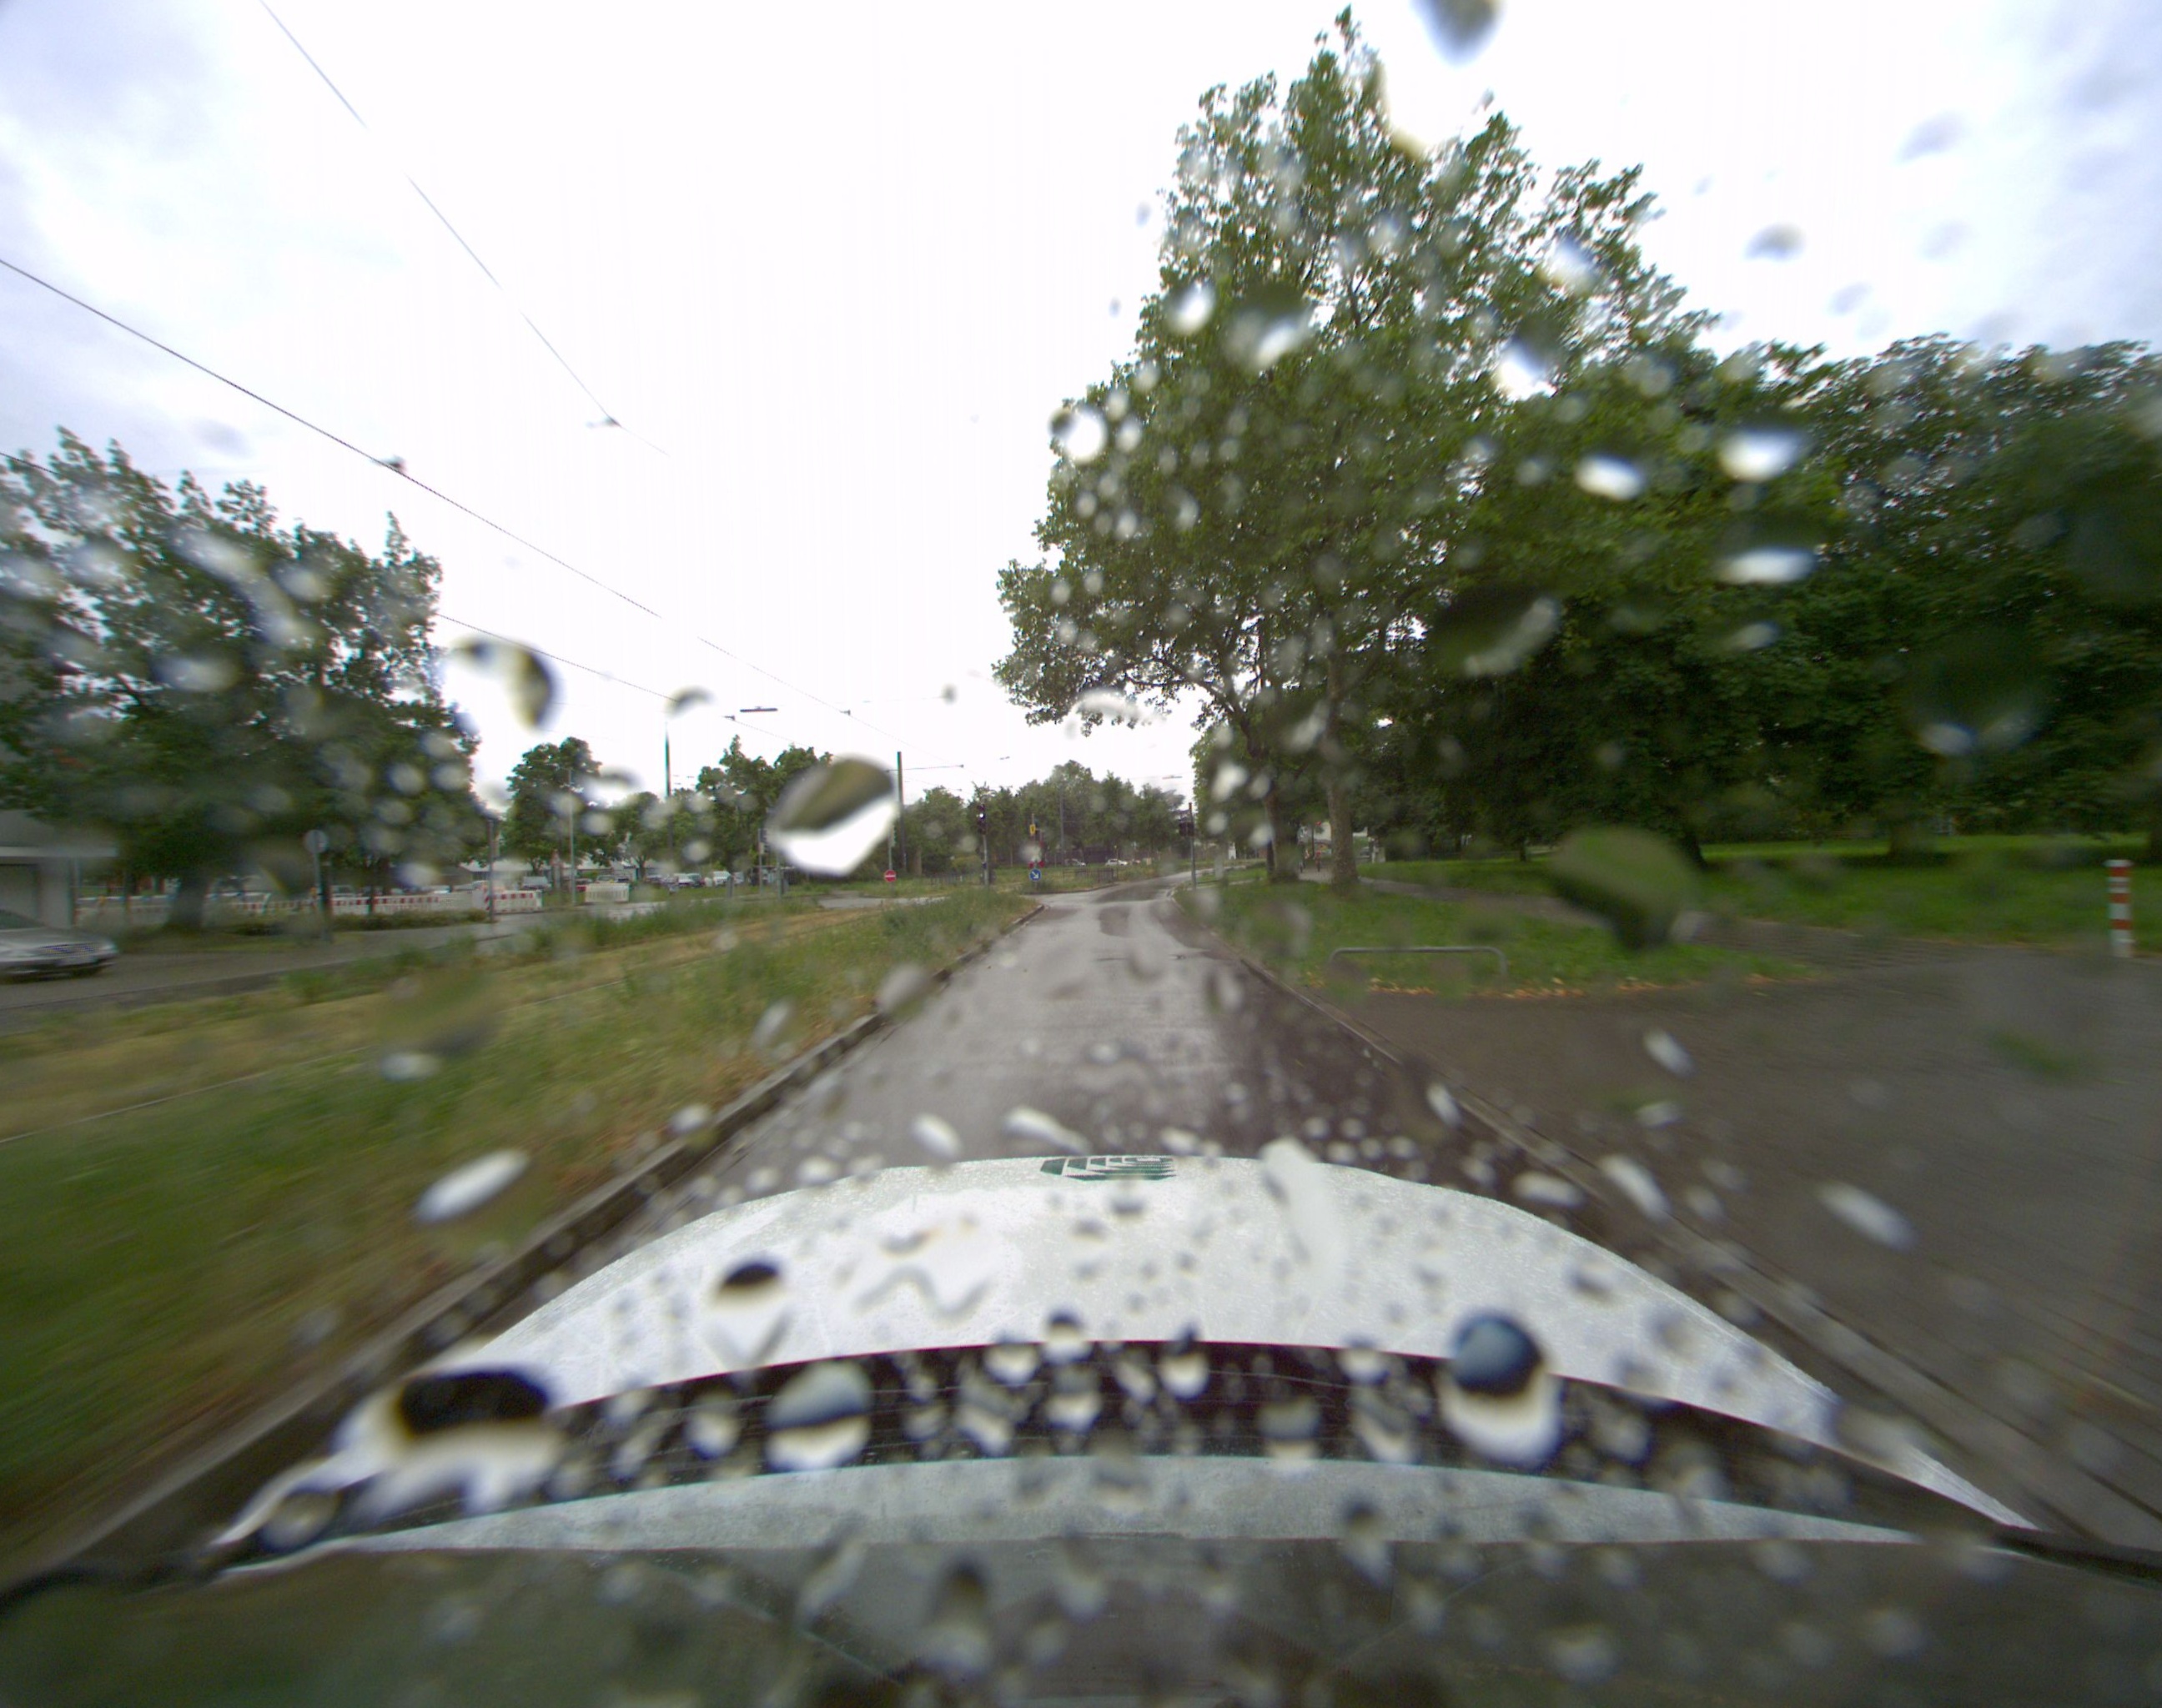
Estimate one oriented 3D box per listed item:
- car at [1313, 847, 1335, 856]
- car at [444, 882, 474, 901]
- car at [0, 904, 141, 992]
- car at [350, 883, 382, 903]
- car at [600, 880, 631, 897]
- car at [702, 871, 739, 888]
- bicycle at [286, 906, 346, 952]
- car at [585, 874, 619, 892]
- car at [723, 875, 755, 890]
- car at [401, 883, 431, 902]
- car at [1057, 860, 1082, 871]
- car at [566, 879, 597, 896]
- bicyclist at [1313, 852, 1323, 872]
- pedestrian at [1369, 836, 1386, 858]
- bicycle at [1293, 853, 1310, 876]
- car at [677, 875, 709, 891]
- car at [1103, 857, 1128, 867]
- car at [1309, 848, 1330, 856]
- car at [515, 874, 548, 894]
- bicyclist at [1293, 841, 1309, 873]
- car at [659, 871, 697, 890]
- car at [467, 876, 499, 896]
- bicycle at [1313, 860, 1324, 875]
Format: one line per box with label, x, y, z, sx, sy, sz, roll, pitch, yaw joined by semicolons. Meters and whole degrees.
car;52.734;-0.505;176.799;4.094;1.860;1.684;-3;-1;36
car;-47.937;2.876;62.750;1.674;1.325;3.698;-2;-1;-40
car;-20.253;1.684;14.606;4.707;1.365;1.849;-1;0;1
car;-52.538;2.892;59.882;1.674;1.325;3.698;-2;-1;-40
car;-39.580;2.917;69.233;1.674;1.325;3.698;-2;-1;-40
car;-28.310;2.022;63.911;1.674;1.249;3.698;-2;-1;-40
bicycle;-19.185;1.858;20.460;0.482;1.019;1.827;1;-1;-23
car;-34.927;2.128;59.327;1.673;1.249;3.700;-2;-1;-37
car;-31.858;2.629;75.797;1.674;1.249;3.698;-2;-1;-40
car;-49.961;2.871;61.143;1.674;1.325;3.698;-2;-1;-40
car;-2.061;2.079;145.475;4.174;1.796;1.660;-2;0;19
car;-41.631;2.819;67.831;1.674;1.325;3.698;-2;-1;-40
bicyclist;12.981;0.438;44.601;0.483;1.038;0.594;-3;0;19
pedestrian;23.516;-0.529;64.583;1.022;1.694;0.860;-3;-1;32
bicycle;12.211;0.571;45.027;0.705;1.142;1.982;-3;0;20
car;-34.724;2.603;72.767;1.674;1.249;3.698;-2;-1;-40
car;5.975;1.404;142.568;4.033;1.499;1.660;-3;-1;18
car;50.914;-0.359;173.841;3.713;1.442;1.774;-3;-1;33
car;-37.824;2.062;56.003;1.673;1.249;3.700;-2;-1;-37
bicyclist;12.190;0.133;45.026;0.705;1.721;0.962;-3;0;20
car;-30.485;2.005;61.537;1.674;1.249;3.698;-2;-1;-40
car;-40.019;2.146;54.488;1.673;1.249;3.700;-2;-1;-37
bicycle;13.000;0.735;44.630;0.483;0.708;1.465;-3;0;19
